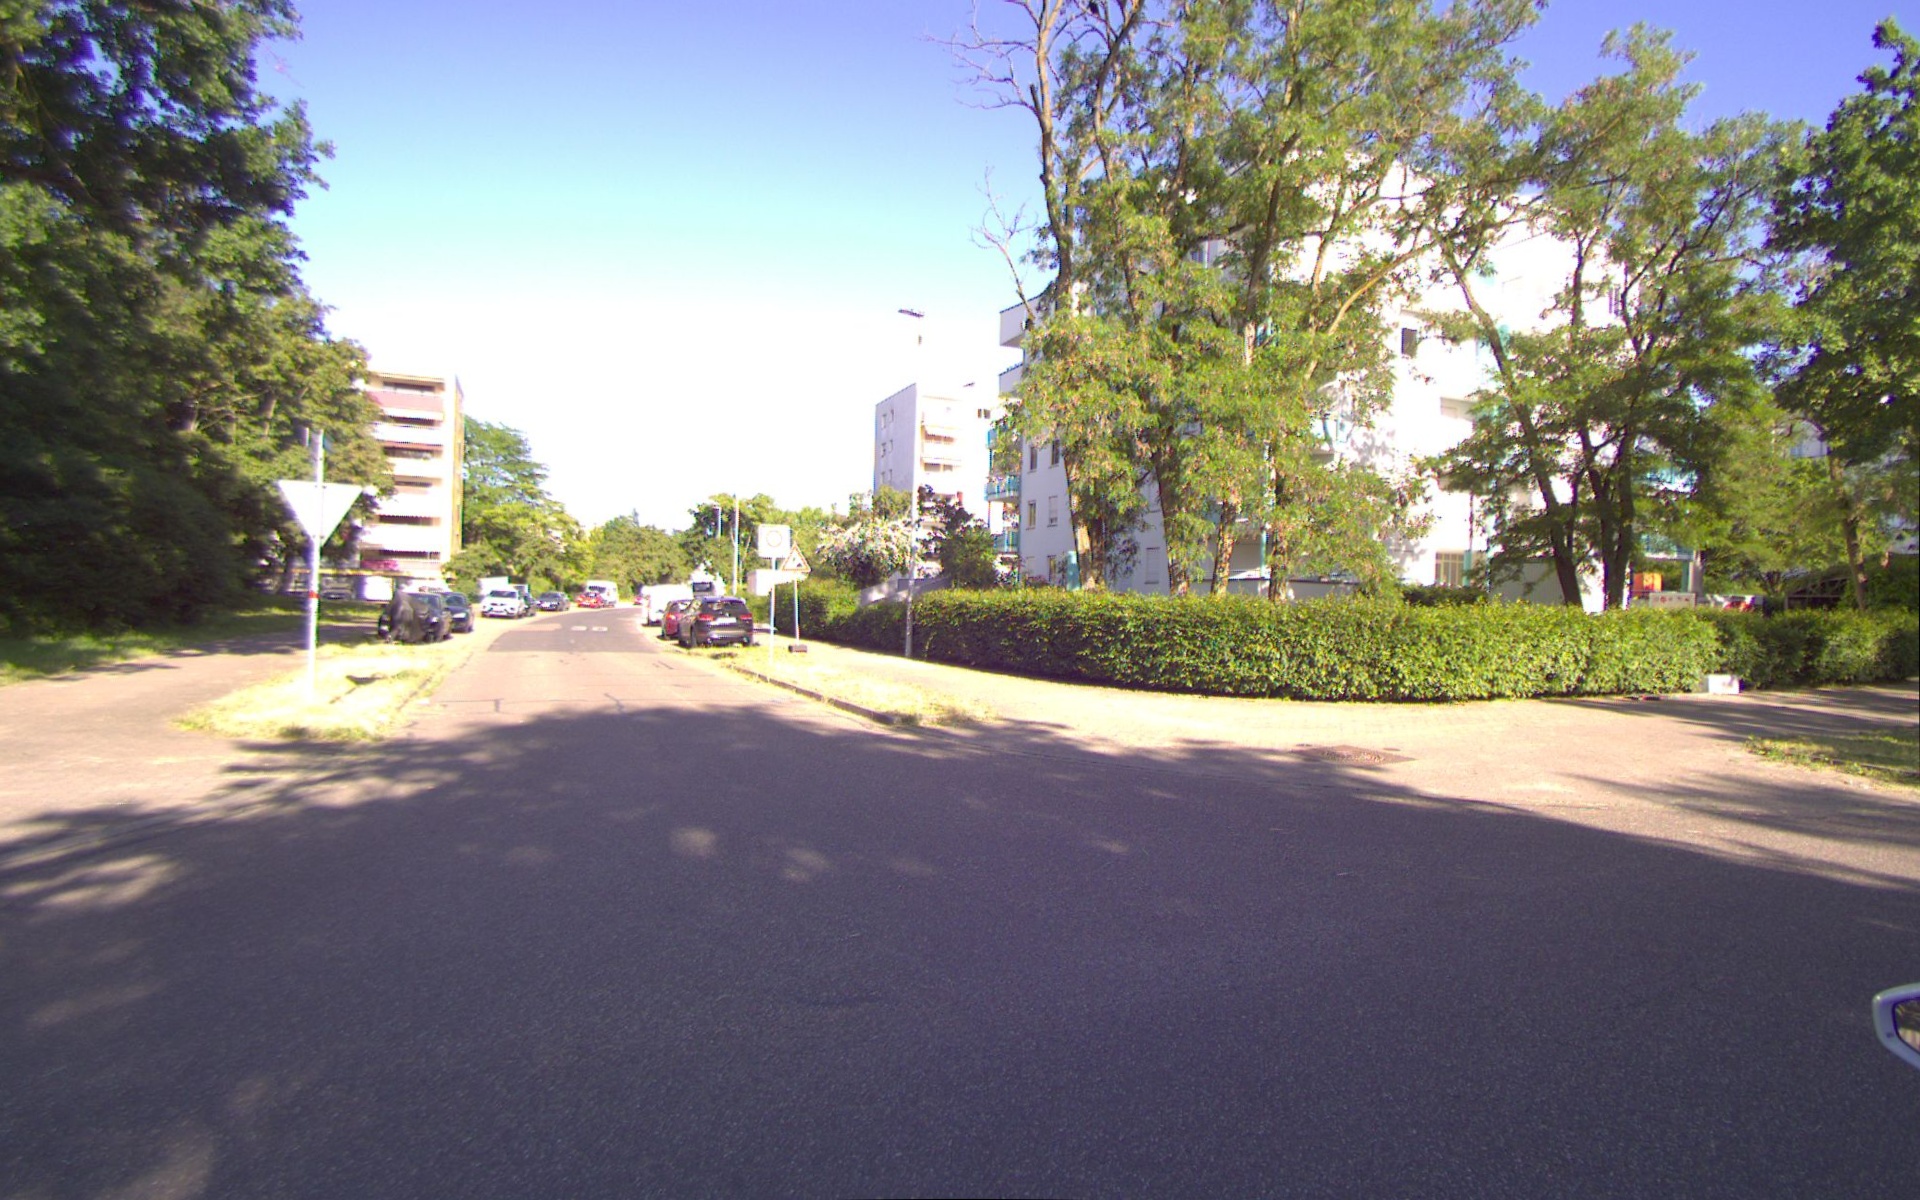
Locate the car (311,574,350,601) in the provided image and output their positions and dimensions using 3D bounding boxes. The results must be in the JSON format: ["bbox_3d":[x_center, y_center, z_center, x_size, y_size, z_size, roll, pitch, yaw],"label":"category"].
[{"bbox_3d":[-44.111,-0.879,70.460,1.738,1.767,3.813,1,0,-24],"label":"car"}]

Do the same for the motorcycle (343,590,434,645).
[{"bbox_3d":[-14.968,0.452,26.363,0.664,1.362,1.955,2,0,34],"label":"motorcycle"}]

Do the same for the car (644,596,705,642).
[{"bbox_3d":[-10.602,0.679,37.182,1.615,1.531,3.813,1,0,-24],"label":"car"}]

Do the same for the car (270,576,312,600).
[{"bbox_3d":[-46.009,-0.855,69.119,1.775,1.547,3.813,1,0,-24],"label":"car"}]

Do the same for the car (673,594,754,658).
[{"bbox_3d":[-7.653,0.753,30.936,1.732,1.808,3.813,1,0,-24],"label":"car"}]

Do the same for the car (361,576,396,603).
[{"bbox_3d":[-41.263,-0.744,71.369,1.738,1.767,3.813,1,0,-24],"label":"car"}]

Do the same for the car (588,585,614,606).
[{"bbox_3d":[-34.555,-0.473,96.749,1.950,1.925,3.989,2,0,-13],"label":"car"}]

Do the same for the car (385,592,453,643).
[{"bbox_3d":[-16.391,0.508,30.562,1.538,1.410,3.567,1,0,-24],"label":"car"}]

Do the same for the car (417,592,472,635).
[{"bbox_3d":[-18.561,0.456,36.288,1.538,1.410,3.567,1,0,-24],"label":"car"}]

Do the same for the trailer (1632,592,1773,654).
[{"bbox_3d":[26.025,0.811,35.204,4.365,2.070,1.972,1,0,-22],"label":"trailer"}]

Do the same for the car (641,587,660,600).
[{"bbox_3d":[-38.765,-0.824,125.983,1.860,1.662,3.991,2,0,-12],"label":"car"}]

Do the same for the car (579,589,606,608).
[{"bbox_3d":[-33.559,-0.157,91.760,1.796,1.617,3.989,2,0,-13],"label":"car"}]

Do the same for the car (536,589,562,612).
[{"bbox_3d":[-30.201,0.052,73.753,1.623,1.578,3.813,1,0,-24],"label":"car"}]

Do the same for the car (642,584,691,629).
[{"bbox_3d":[-14.749,0.295,50.343,1.803,2.088,3.813,1,0,-24],"label":"car"}]

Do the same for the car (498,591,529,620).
[{"bbox_3d":[-26.586,0.298,59.792,1.623,1.578,3.813,1,0,-24],"label":"car"}]

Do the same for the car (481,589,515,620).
[{"bbox_3d":[-25.049,0.216,54.546,1.623,1.578,3.813,1,0,-24],"label":"car"}]

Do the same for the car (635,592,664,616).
[{"bbox_3d":[-20.163,0.231,65.242,1.499,1.486,3.056,1,0,-23],"label":"car"}]
